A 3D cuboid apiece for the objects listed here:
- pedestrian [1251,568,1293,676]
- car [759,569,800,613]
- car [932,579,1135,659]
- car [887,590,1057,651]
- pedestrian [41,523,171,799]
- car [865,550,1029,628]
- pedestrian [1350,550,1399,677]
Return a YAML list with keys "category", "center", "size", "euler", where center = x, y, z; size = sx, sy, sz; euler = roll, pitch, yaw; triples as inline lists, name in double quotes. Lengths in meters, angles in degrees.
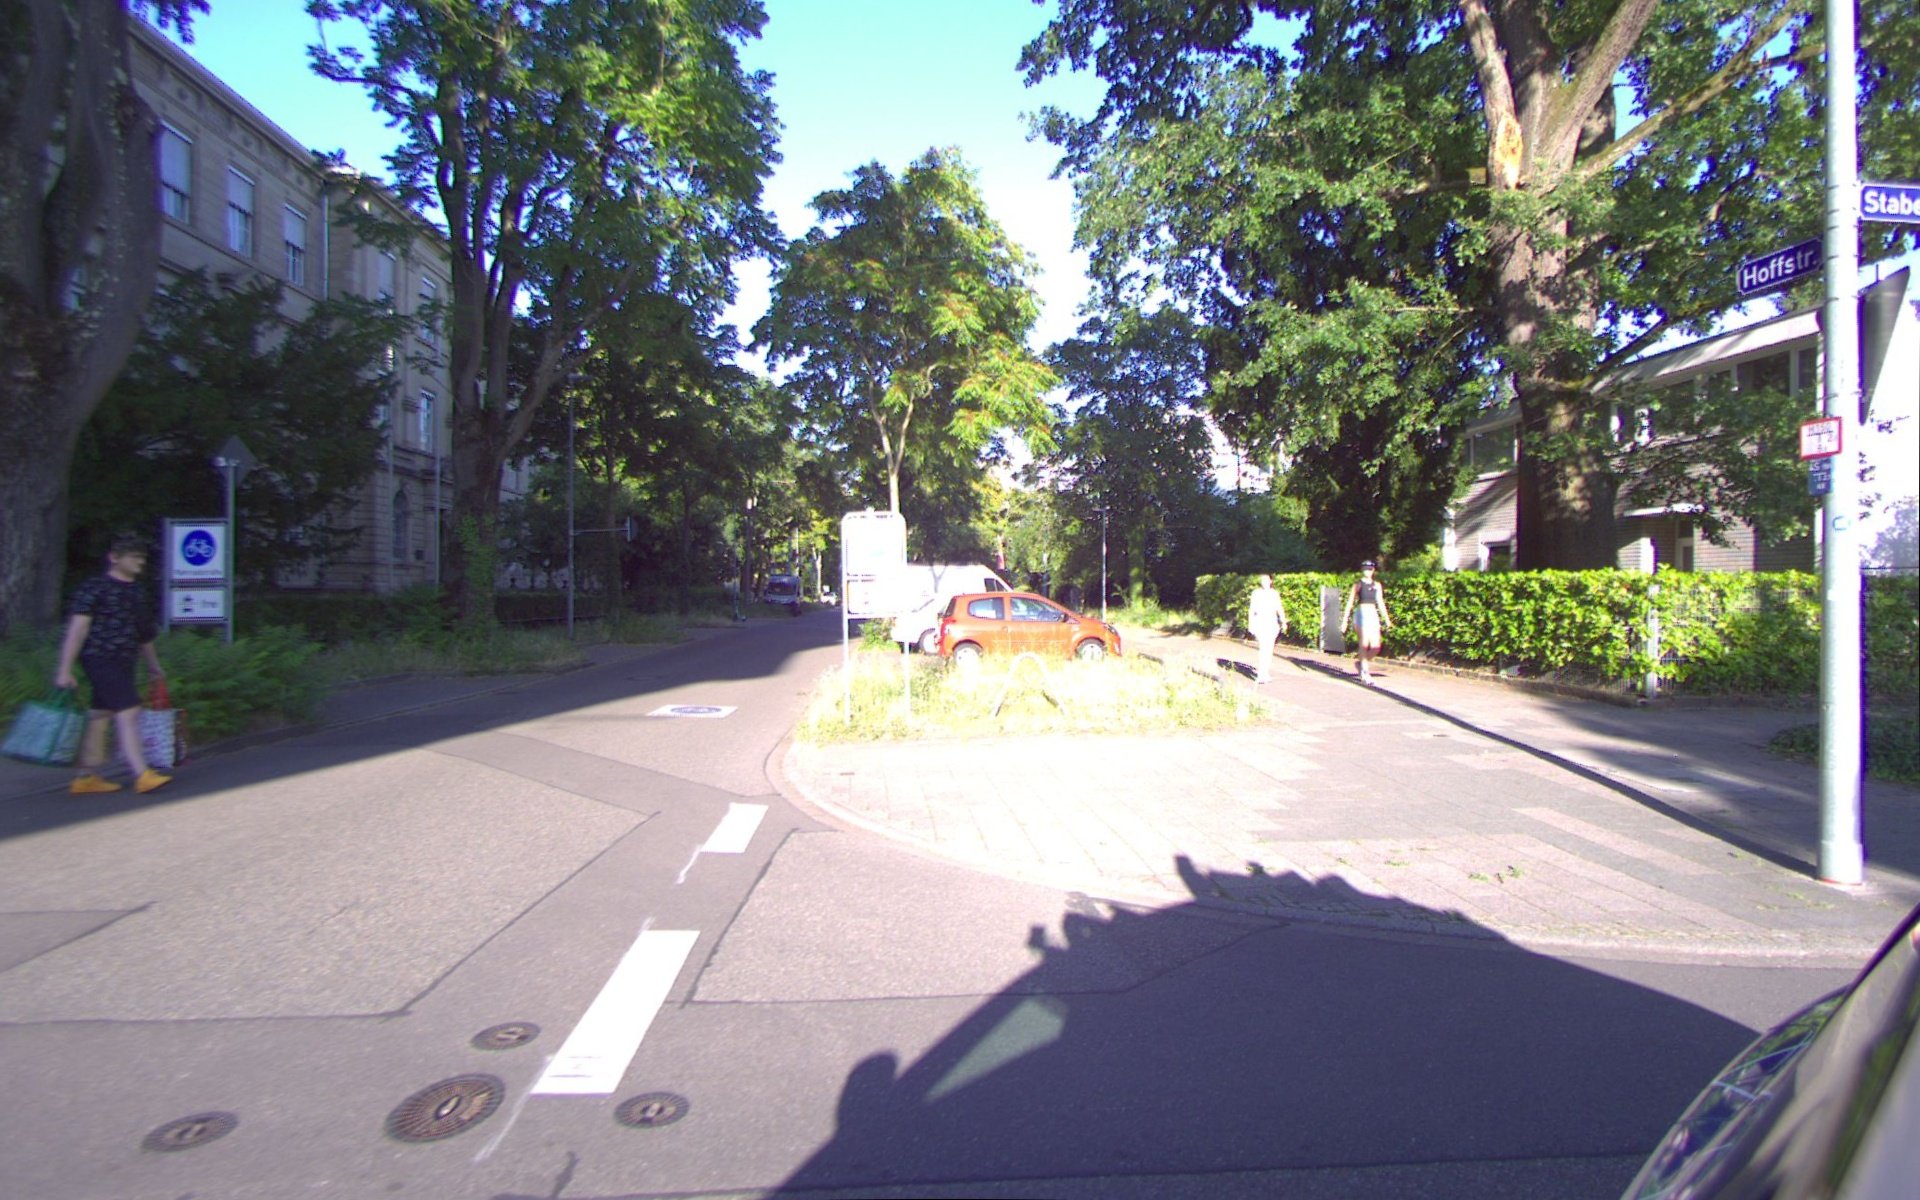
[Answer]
- category: "pedestrian"
  center: [4.693, 0.323, 15.253]
  size: [0.427, 1.601, 0.666]
  euler: [0, 0, 0]
- category: "car"
  center: [-11.145, -0.550, 62.817]
  size: [1.915, 2.632, 4.167]
  euler: [0, 0, -1]
- category: "car"
  center: [1.329, 0.340, 19.285]
  size: [3.605, 1.438, 1.720]
  euler: [0, 0, -6]
- category: "car"
  center: [0.241, 0.469, 24.881]
  size: [3.977, 1.438, 1.720]
  euler: [0, 0, -6]
- category: "pedestrian"
  center: [-6.374, 0.423, 7.591]
  size: [0.602, 1.942, 0.723]
  euler: [0, 1, -28]
- category: "car"
  center: [-0.540, -0.386, 36.922]
  size: [5.791, 2.734, 2.223]
  euler: [0, 0, -6]
- category: "pedestrian"
  center: [5.983, 0.190, 14.624]
  size: [0.427, 1.797, 0.666]
  euler: [0, 0, 0]
